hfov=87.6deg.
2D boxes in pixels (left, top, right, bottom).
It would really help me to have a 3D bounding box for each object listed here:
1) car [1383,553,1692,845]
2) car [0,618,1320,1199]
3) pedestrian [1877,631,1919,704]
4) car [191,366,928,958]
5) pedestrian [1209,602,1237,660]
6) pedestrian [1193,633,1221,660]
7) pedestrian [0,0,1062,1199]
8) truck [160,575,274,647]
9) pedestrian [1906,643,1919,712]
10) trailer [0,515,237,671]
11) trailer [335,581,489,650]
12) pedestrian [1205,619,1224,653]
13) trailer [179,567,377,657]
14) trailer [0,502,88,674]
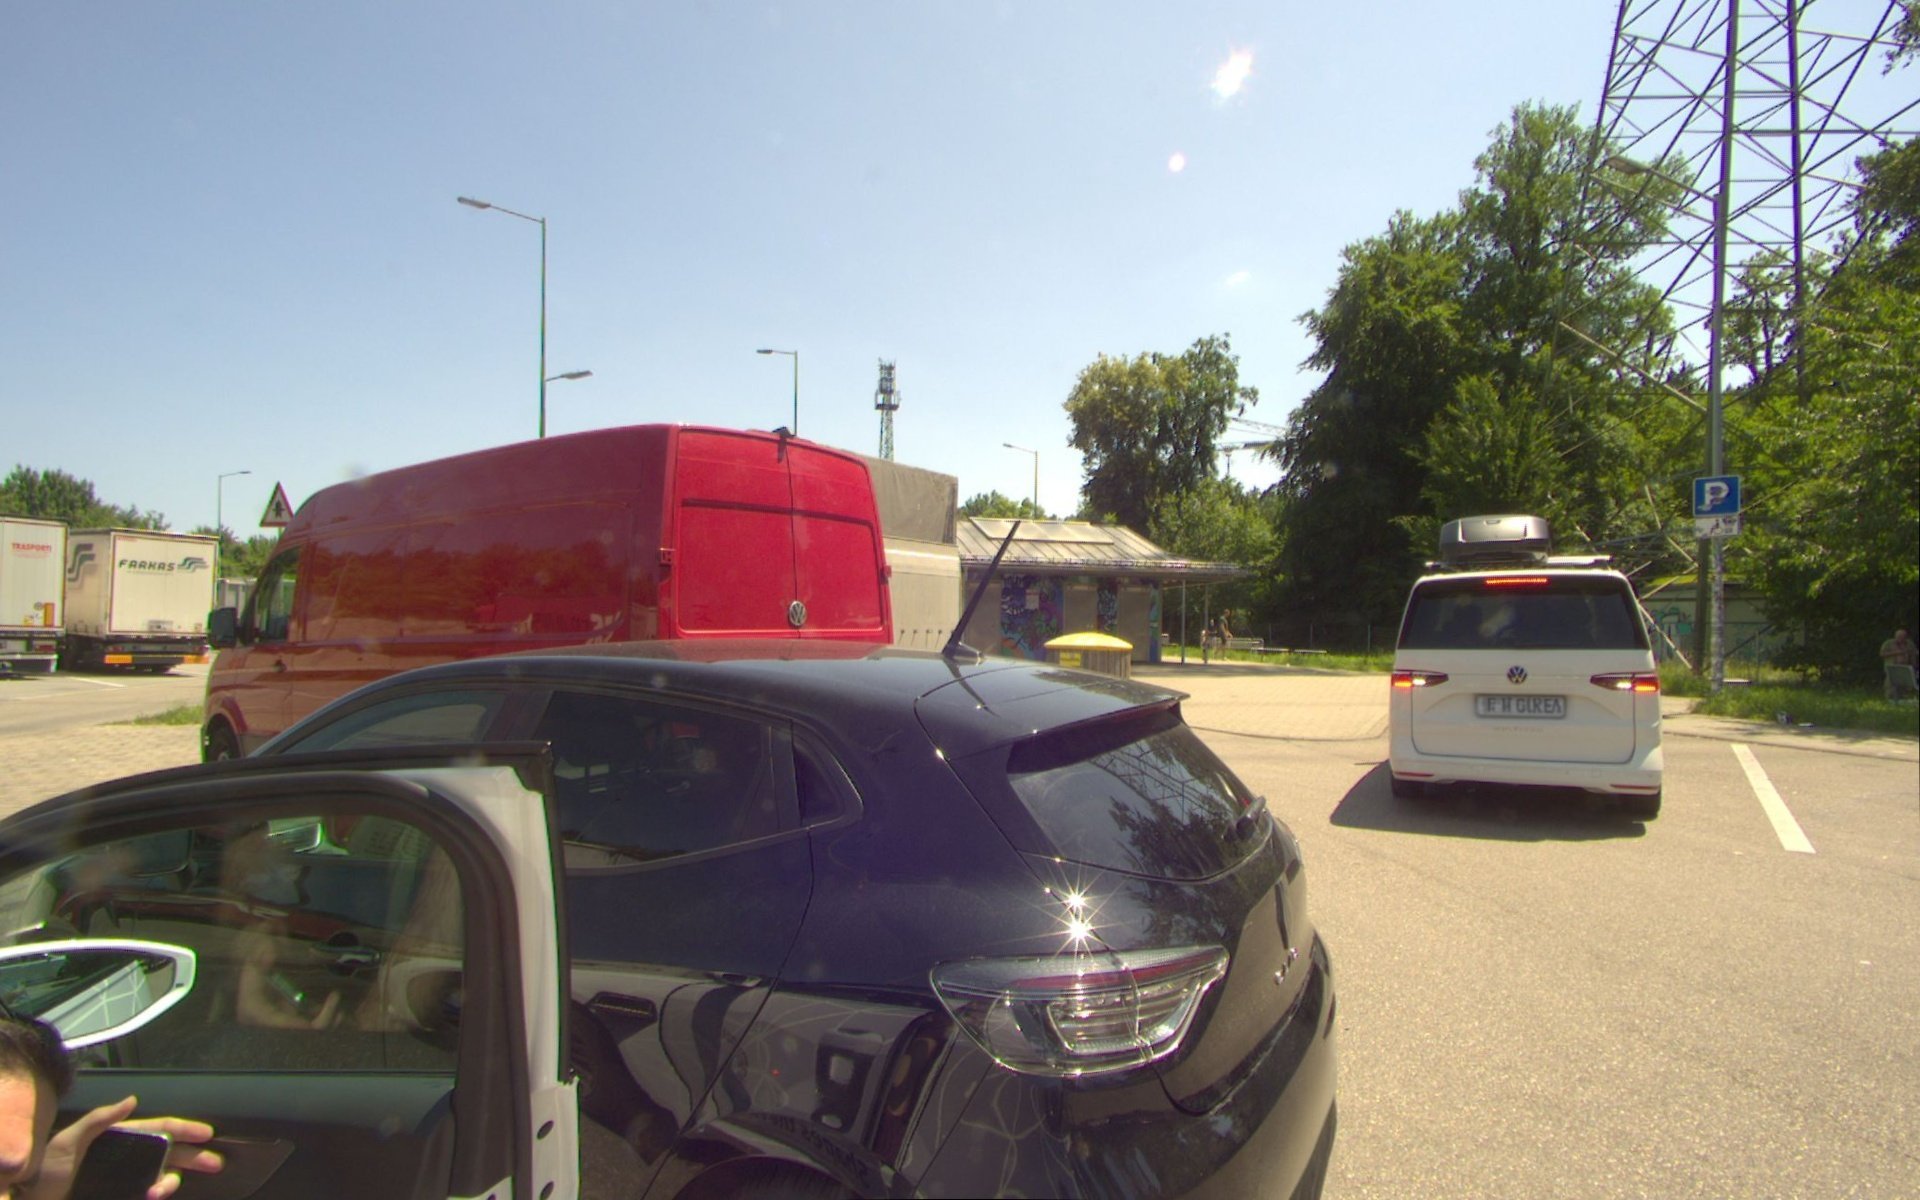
[{"bbox_3d":[5.054,0.714,9.111,1.882,1.937,4.547,-1,-1,27],"label":"car"},{"bbox_3d":[-1.049,0.835,2.912,3.757,1.501,1.736,0,-1,27],"label":"car"},{"bbox_3d":[18.701,1.324,19.854,0.660,1.422,0.647,-1,-1,33],"label":"pedestrian"},{"bbox_3d":[-3.341,0.310,7.363,6.310,2.731,2.060,0,-1,37],"label":"car"},{"bbox_3d":[9.449,1.101,35.950,0.764,2.067,0.645,0,-1,-12],"label":"pedestrian"},{"bbox_3d":[8.780,1.657,35.614,0.764,0.960,0.645,0,-1,-12],"label":"pedestrian"},{"bbox_3d":[-0.440,0.592,0.902,0.878,1.865,0.618,-1,-1,35],"label":"pedestrian"},{"bbox_3d":[-37.676,0.557,50.749,5.405,3.407,2.847,1,-2,34],"label":"truck"},{"bbox_3d":[17.204,1.356,17.480,0.876,1.192,0.666,-1,-2,32],"label":"pedestrian"},{"bbox_3d":[-27.644,-0.198,31.638,13.523,4.185,2.835,1,-2,33],"label":"trailer"},{"bbox_3d":[-36.029,0.902,65.443,13.530,4.101,2.833,1,-2,34],"label":"trailer"},{"bbox_3d":[11.764,1.678,46.325,0.635,1.547,0.564,0,-1,-18],"label":"pedestrian"},{"bbox_3d":[-32.368,0.474,47.149,13.530,3.764,2.834,1,-2,34],"label":"trailer"},{"bbox_3d":[-28.953,-0.376,28.157,13.523,4.185,2.835,1,-2,33],"label":"trailer"}]
